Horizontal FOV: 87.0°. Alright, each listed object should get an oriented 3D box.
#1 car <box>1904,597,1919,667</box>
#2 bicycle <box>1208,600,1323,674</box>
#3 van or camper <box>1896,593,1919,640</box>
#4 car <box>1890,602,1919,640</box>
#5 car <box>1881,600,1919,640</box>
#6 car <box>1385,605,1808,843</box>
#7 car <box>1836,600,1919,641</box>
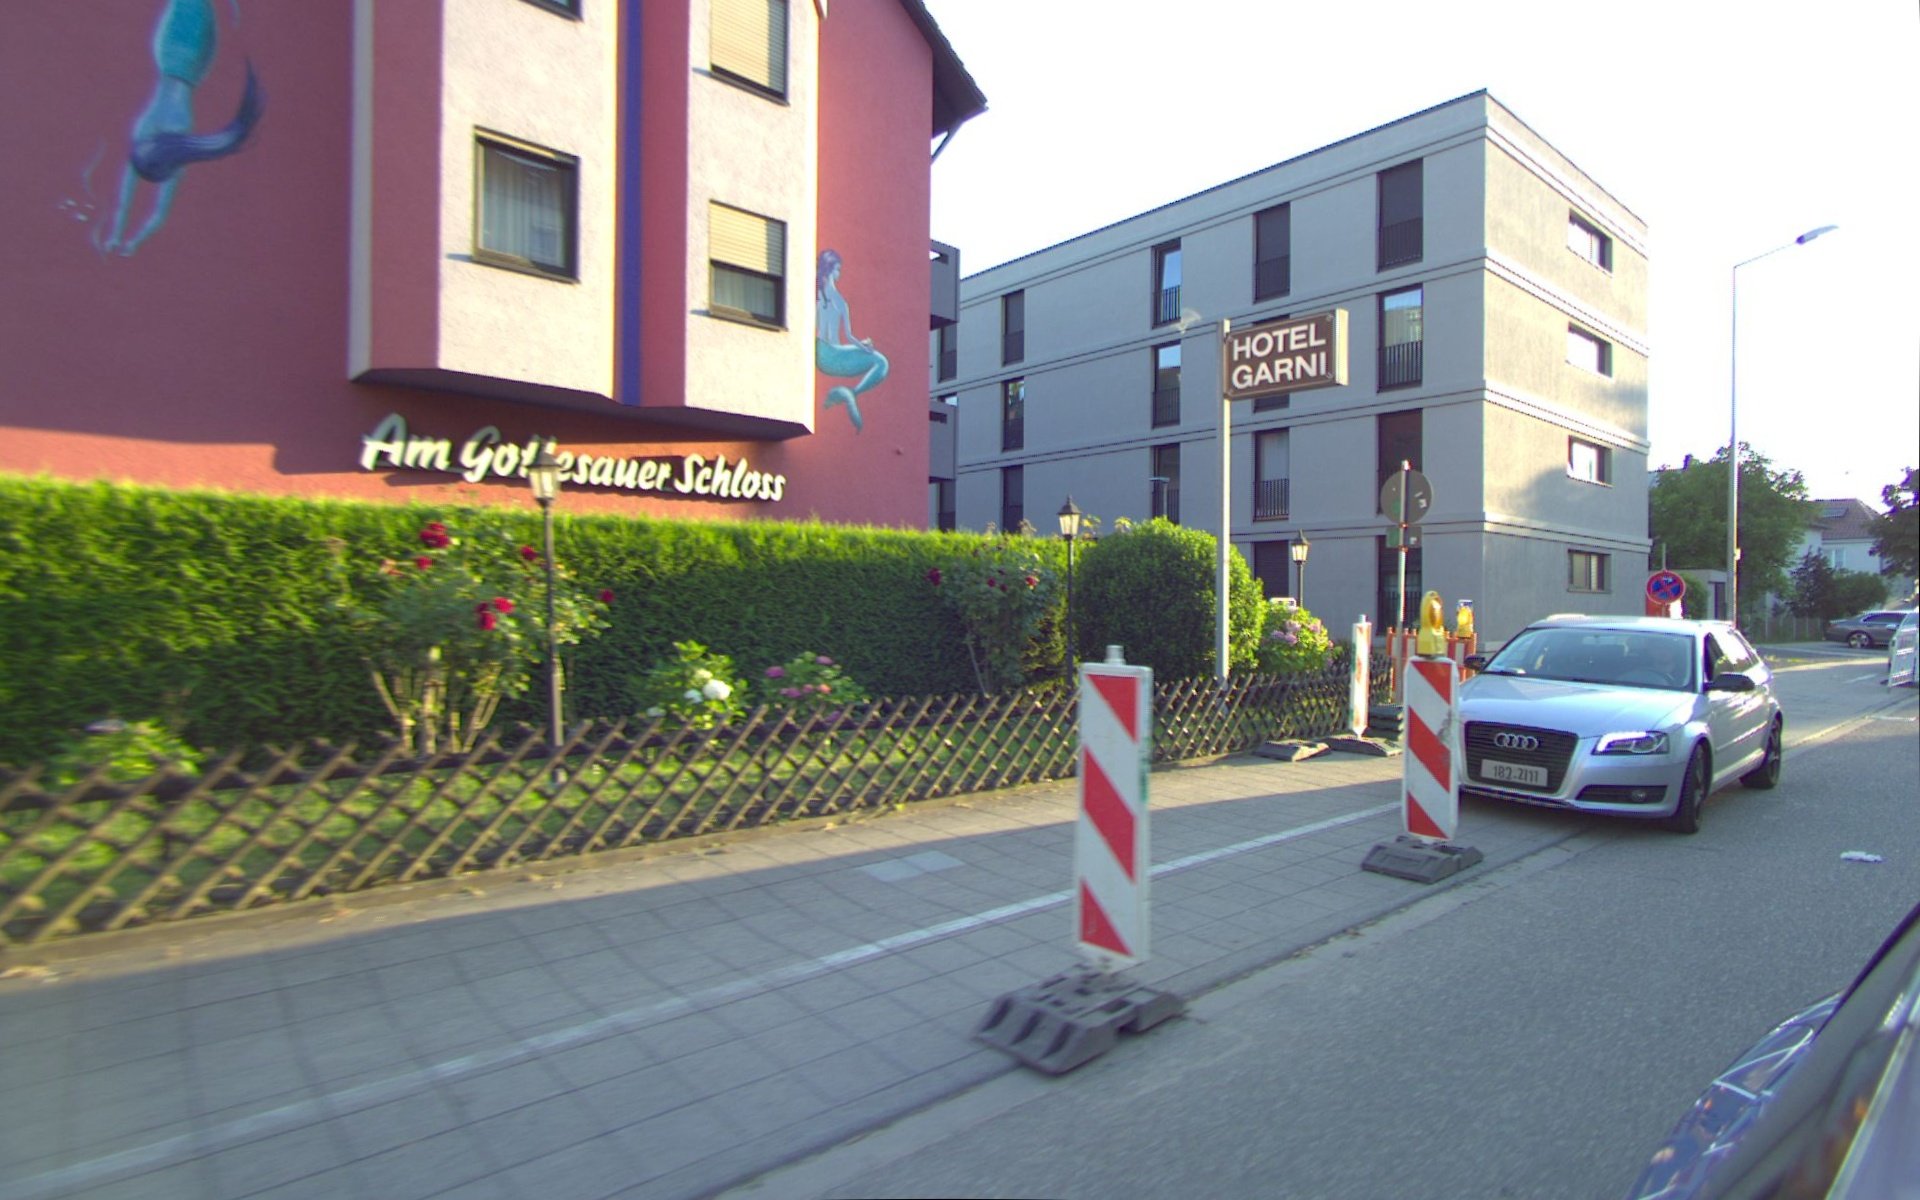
[{"bbox_3d":[22.252,0.698,22.455,3.928,1.488,1.616,0,0,-43],"label":"car"},{"bbox_3d":[4.761,0.549,15.912,0.438,1.083,1.900,0,0,-33],"label":"bicycle"},{"bbox_3d":[42.740,0.705,42.665,2.059,1.978,4.652,1,0,-42],"label":"van or camper"},{"bbox_3d":[40.643,0.860,41.288,1.600,1.563,3.839,1,0,-41],"label":"car"},{"bbox_3d":[37.608,0.809,38.105,1.737,1.520,4.067,1,1,-37],"label":"car"},{"bbox_3d":[5.219,0.759,8.082,4.035,1.414,1.779,0,0,-41],"label":"car"},{"bbox_3d":[35.026,0.784,36.609,1.738,1.415,4.830,1,1,-39],"label":"car"}]
